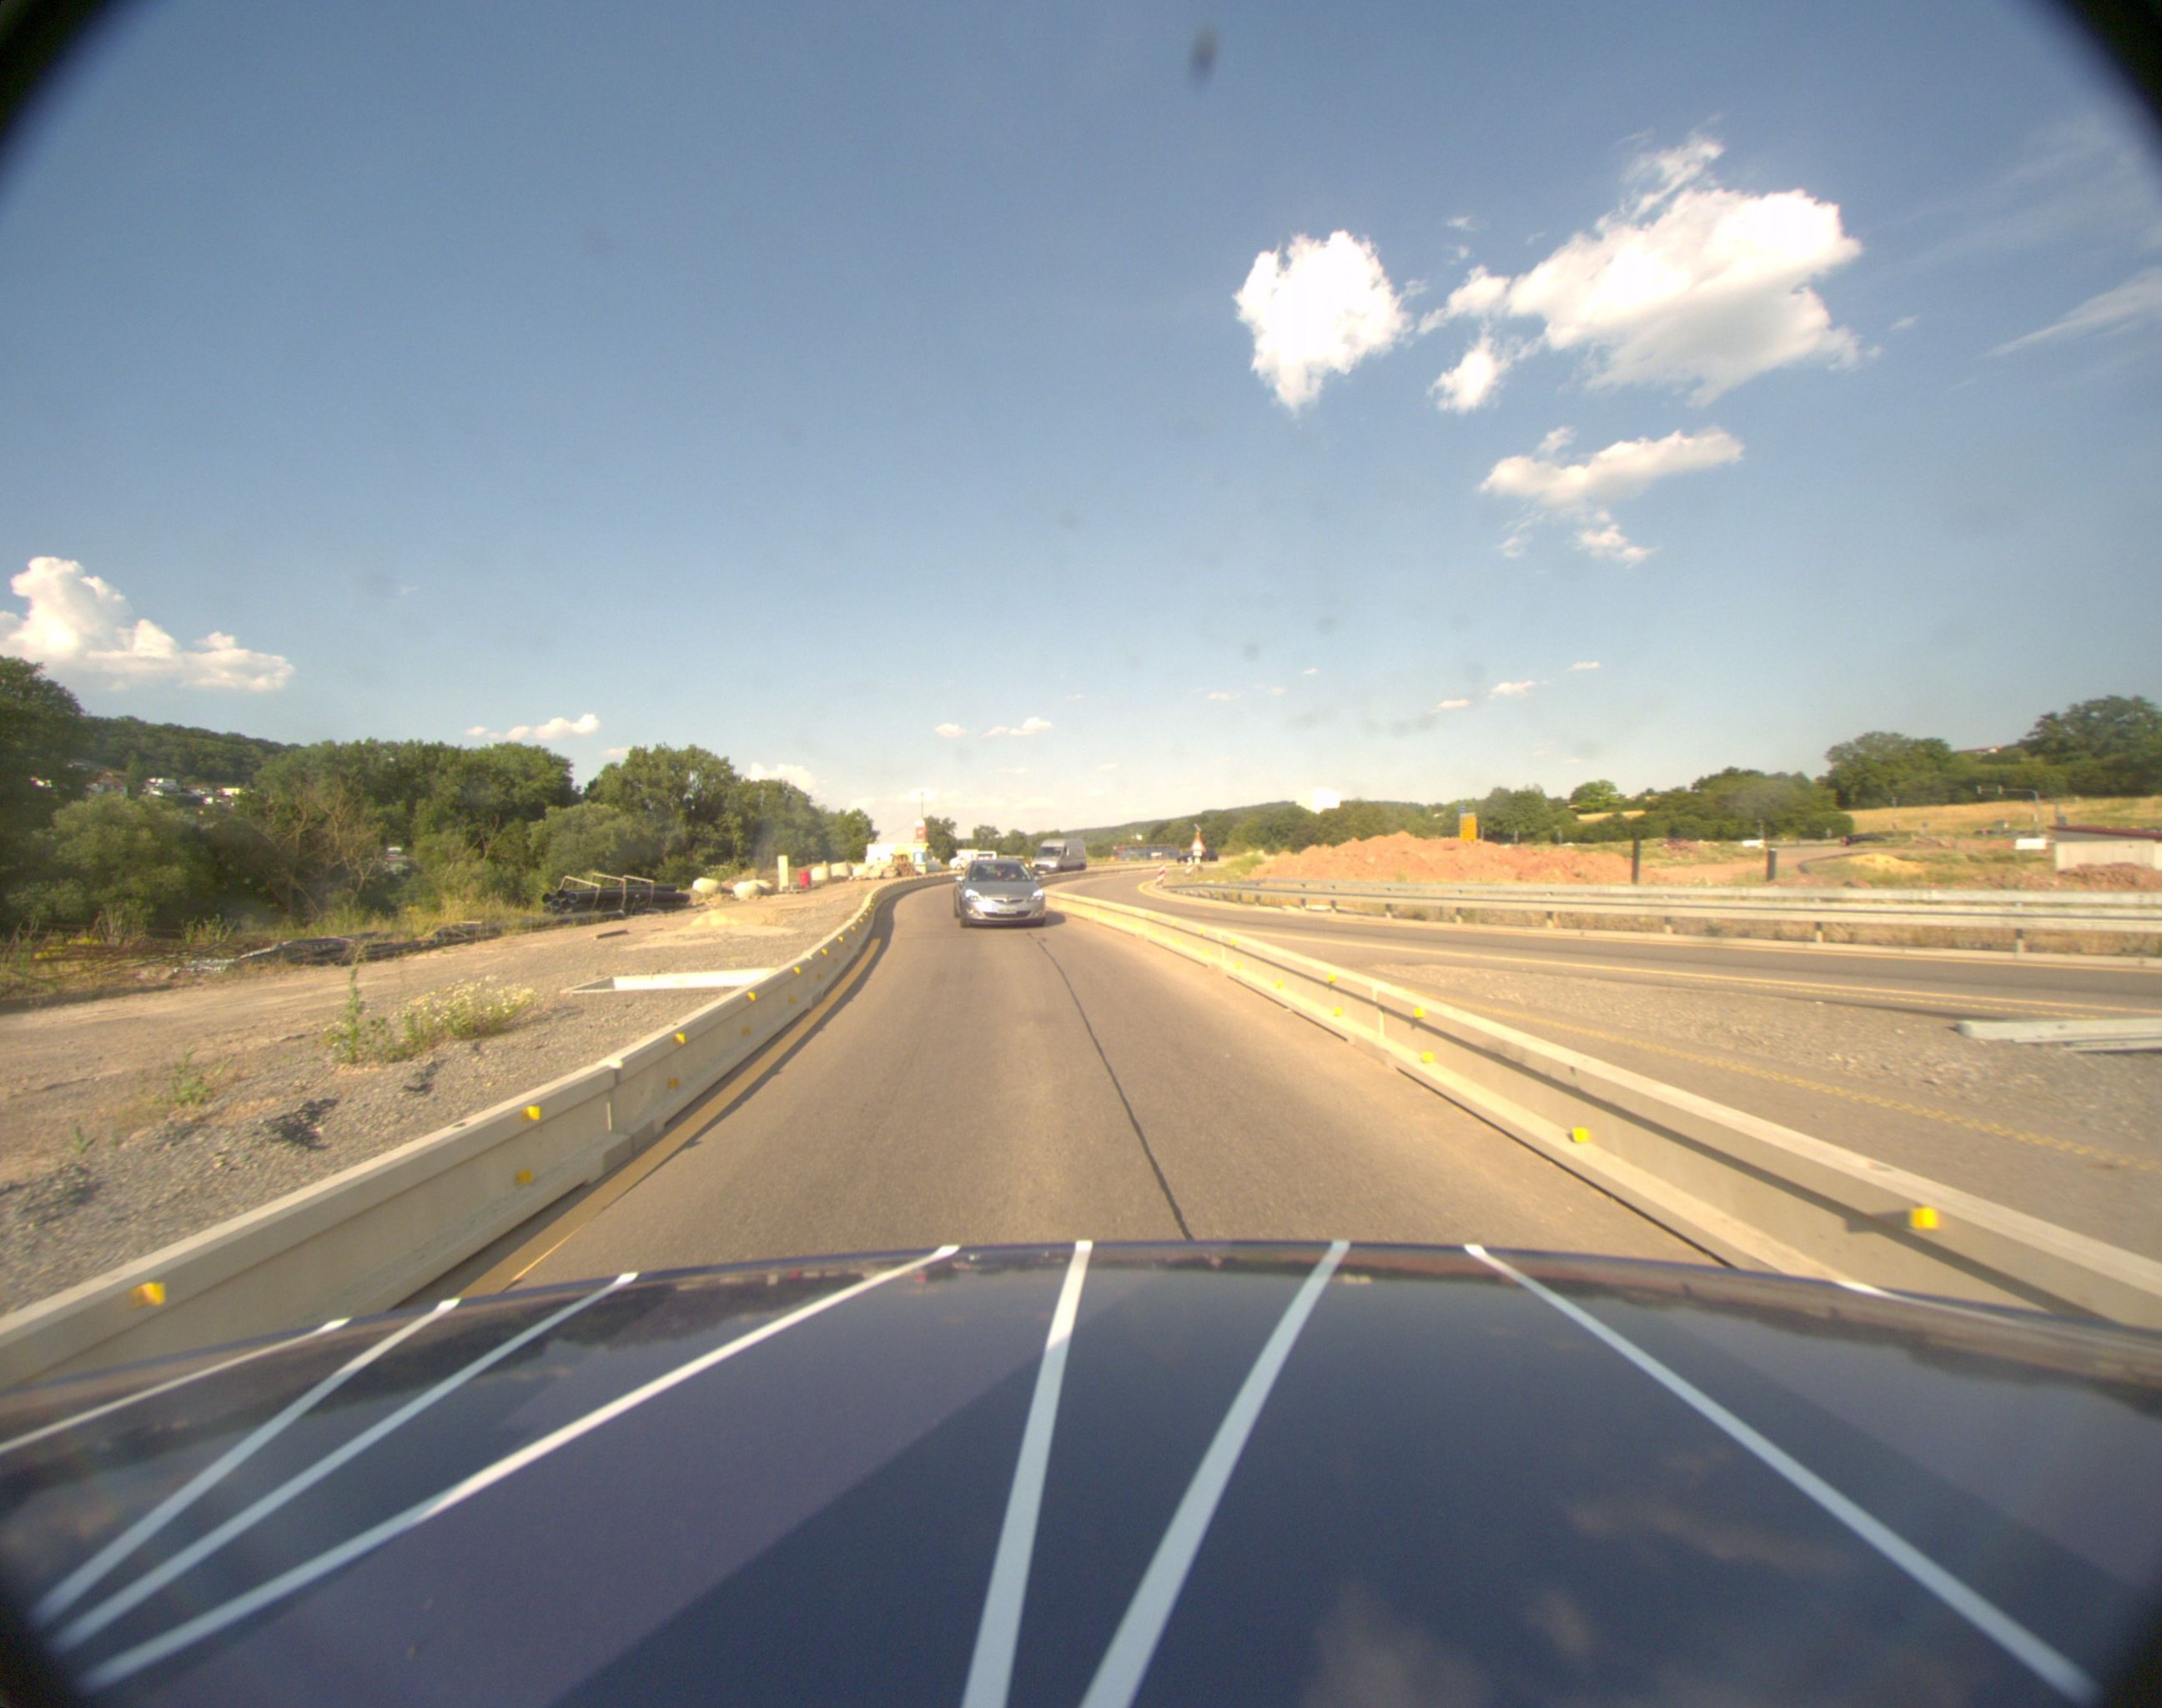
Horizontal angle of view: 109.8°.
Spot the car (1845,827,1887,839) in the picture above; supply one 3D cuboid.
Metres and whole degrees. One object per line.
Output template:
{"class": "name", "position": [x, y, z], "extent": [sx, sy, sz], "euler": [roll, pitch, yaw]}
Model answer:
{"class": "car", "position": [98.286, -2.627, 95.115], "extent": [4.518, 1.511, 1.713], "euler": [-1, 2, -16]}

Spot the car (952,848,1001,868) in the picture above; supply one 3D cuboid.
{"class": "car", "position": [-11.760, 0.424, 85.699], "extent": [5.320, 2.067, 2.484], "euler": [-2, 1, -11]}

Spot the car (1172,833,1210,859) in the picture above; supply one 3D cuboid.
{"class": "car", "position": [10.436, -0.753, 72.043], "extent": [1.871, 2.389, 4.008], "euler": [0, 1, 37]}

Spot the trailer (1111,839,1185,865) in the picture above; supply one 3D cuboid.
{"class": "trailer", "position": [6.964, -0.242, 79.083], "extent": [7.240, 2.400, 3.006], "euler": [-2, 0, -31]}

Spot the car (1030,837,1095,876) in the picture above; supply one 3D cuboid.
{"class": "car", "position": [-1.188, 0.107, 52.502], "extent": [1.913, 2.487, 5.807], "euler": [-1, 1, 27]}

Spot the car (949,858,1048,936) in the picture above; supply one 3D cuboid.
{"class": "car", "position": [-2.002, 0.859, 17.280], "extent": [1.749, 1.476, 4.246], "euler": [-1, 1, -13]}
